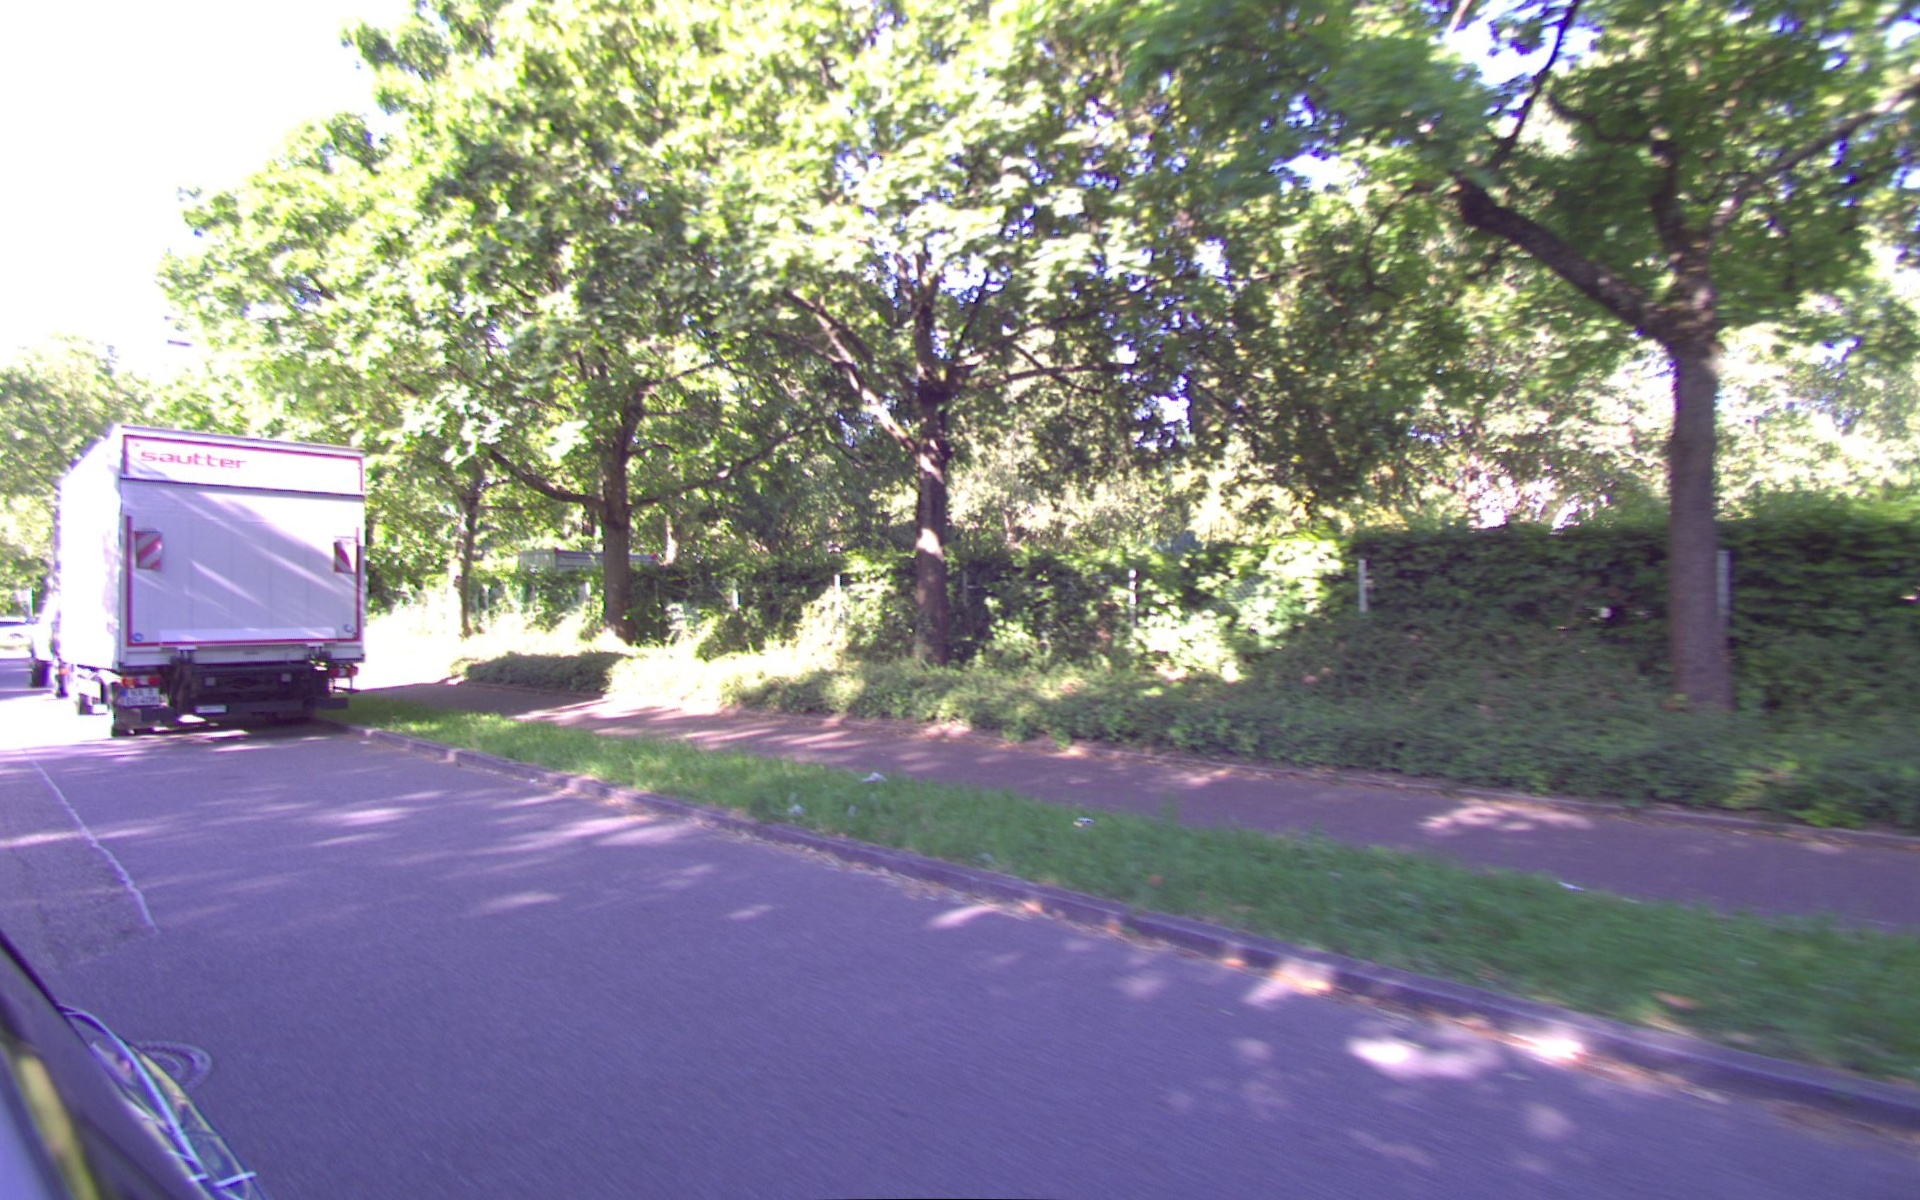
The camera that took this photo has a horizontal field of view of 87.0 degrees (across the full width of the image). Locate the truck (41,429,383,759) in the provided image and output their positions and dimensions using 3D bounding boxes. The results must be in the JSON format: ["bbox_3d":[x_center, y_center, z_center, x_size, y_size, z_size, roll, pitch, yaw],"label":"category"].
[{"bbox_3d":[-11.432,0.003,15.052,8.102,3.669,2.704,-2,-1,43],"label":"truck"}]

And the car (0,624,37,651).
[{"bbox_3d":[-53.631,2.131,55.516,4.419,1.402,1.621,-3,1,-43],"label":"car"}]

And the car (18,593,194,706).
[{"bbox_3d":[-18.528,0.978,21.800,6.583,2.112,2.096,-2,-1,43],"label":"car"}]

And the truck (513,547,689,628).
[{"bbox_3d":[-9.717,-0.244,27.583,2.203,2.029,3.945,-2,-2,41],"label":"truck"}]
